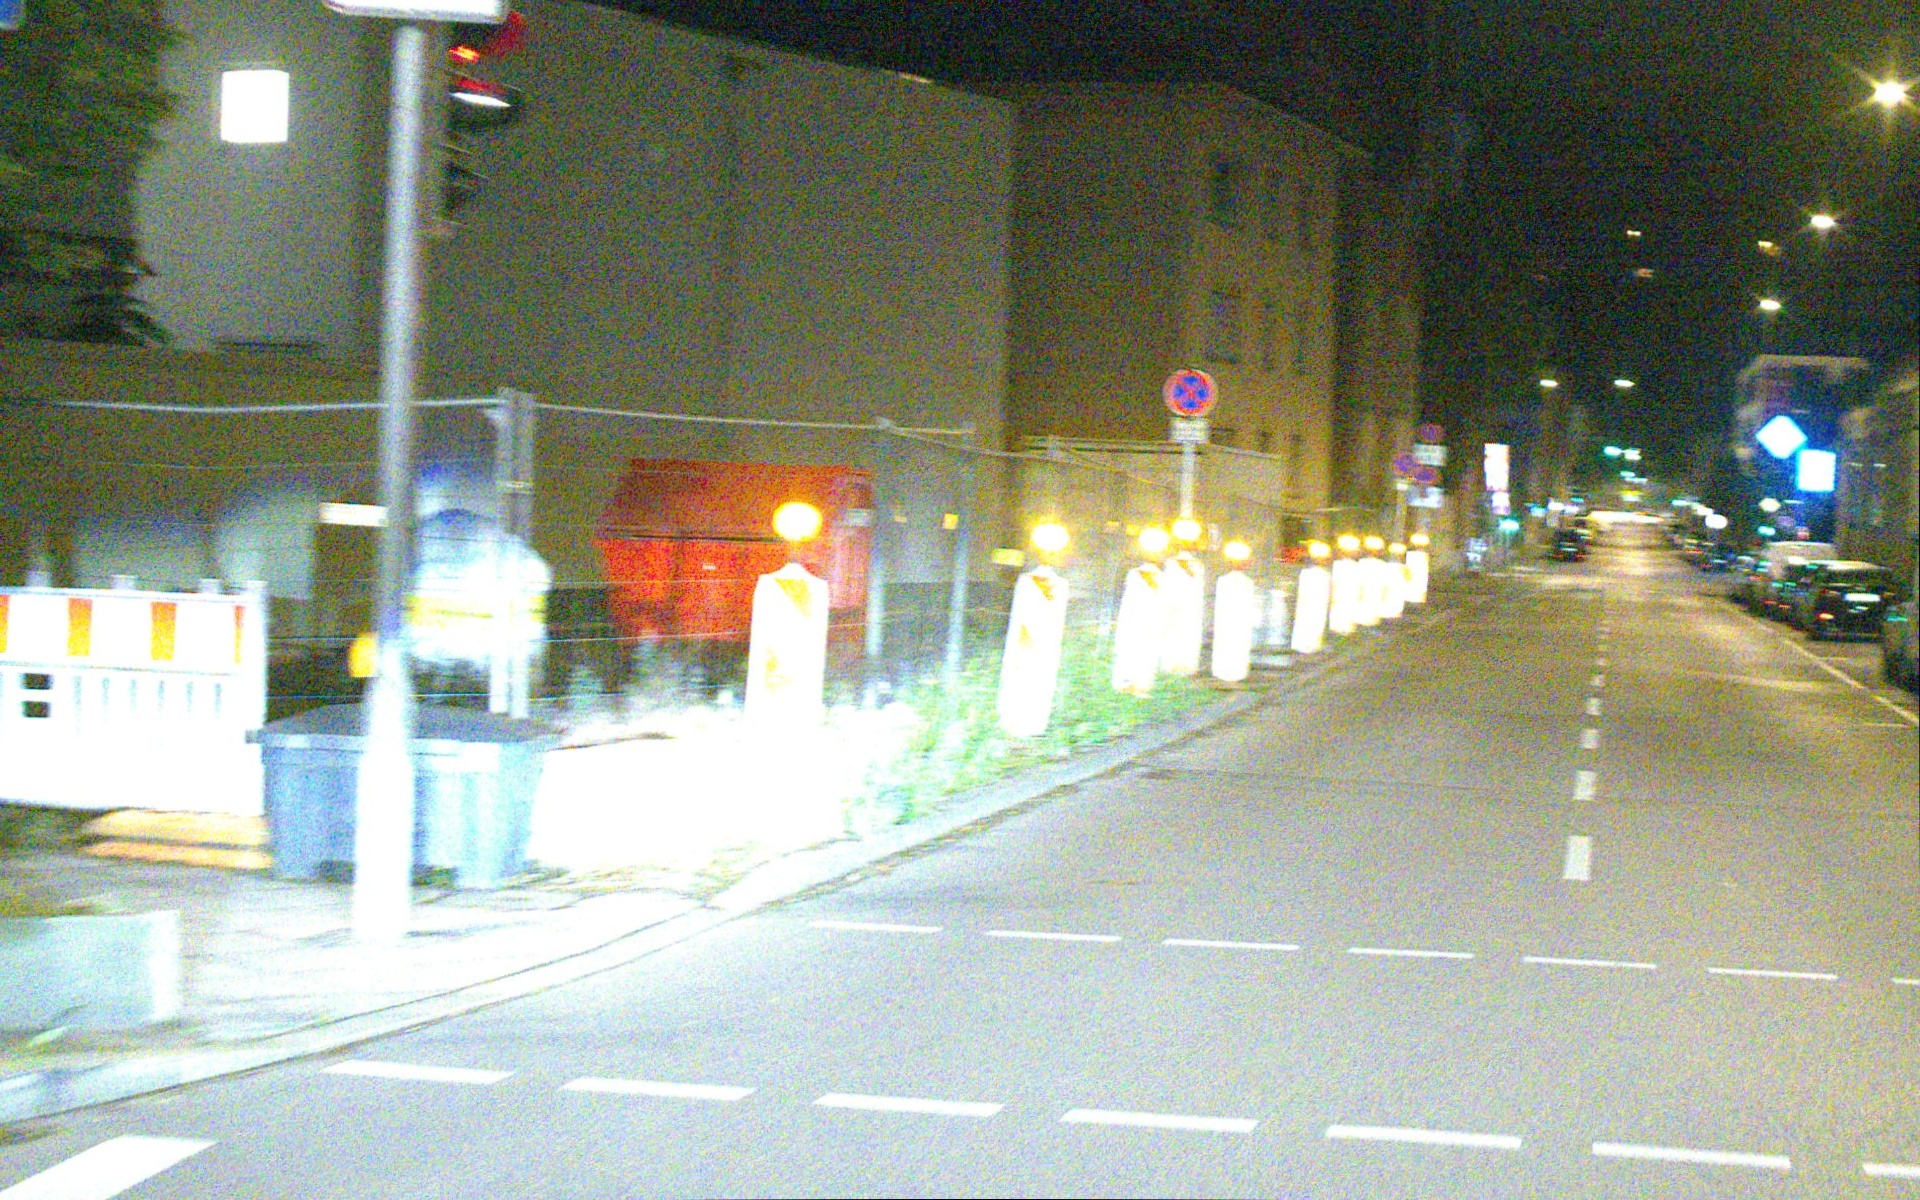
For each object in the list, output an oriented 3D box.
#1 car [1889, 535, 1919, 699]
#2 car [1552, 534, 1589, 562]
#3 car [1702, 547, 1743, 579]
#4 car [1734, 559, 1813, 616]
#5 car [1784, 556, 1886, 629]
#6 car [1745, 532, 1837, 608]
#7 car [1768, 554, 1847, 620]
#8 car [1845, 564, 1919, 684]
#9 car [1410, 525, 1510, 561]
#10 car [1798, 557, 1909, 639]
[{"bbox_3d":[12.536,0.198,41.548,2.073,1.922,5.368,1,1,11],"label":"car"},{"bbox_3d":[35.534,-3.008,200.170,1.994,1.496,3.998,3,1,11],"label":"car"},{"bbox_3d":[40.036,-1.943,180.614,1.995,1.511,3.998,4,2,12],"label":"car"},{"bbox_3d":[21.864,-0.354,92.463,1.817,1.422,4.187,1,1,10],"label":"car"},{"bbox_3d":[18.607,-0.179,73.221,1.779,1.422,3.890,3,1,10],"label":"car"},{"bbox_3d":[21.168,-0.792,87.722,1.801,1.868,4.772,1,1,8],"label":"car"},{"bbox_3d":[20.234,-0.319,82.188,1.596,1.462,3.890,3,1,11],"label":"car"},{"bbox_3d":[13.504,0.302,47.998,1.820,1.593,4.219,0,1,9],"label":"car"},{"bbox_3d":[23.145,-2.643,159.075,4.441,1.444,1.999,3,1,11],"label":"car"},{"bbox_3d":[17.056,-0.056,65.766,1.780,1.422,4.478,3,1,12],"label":"car"}]
